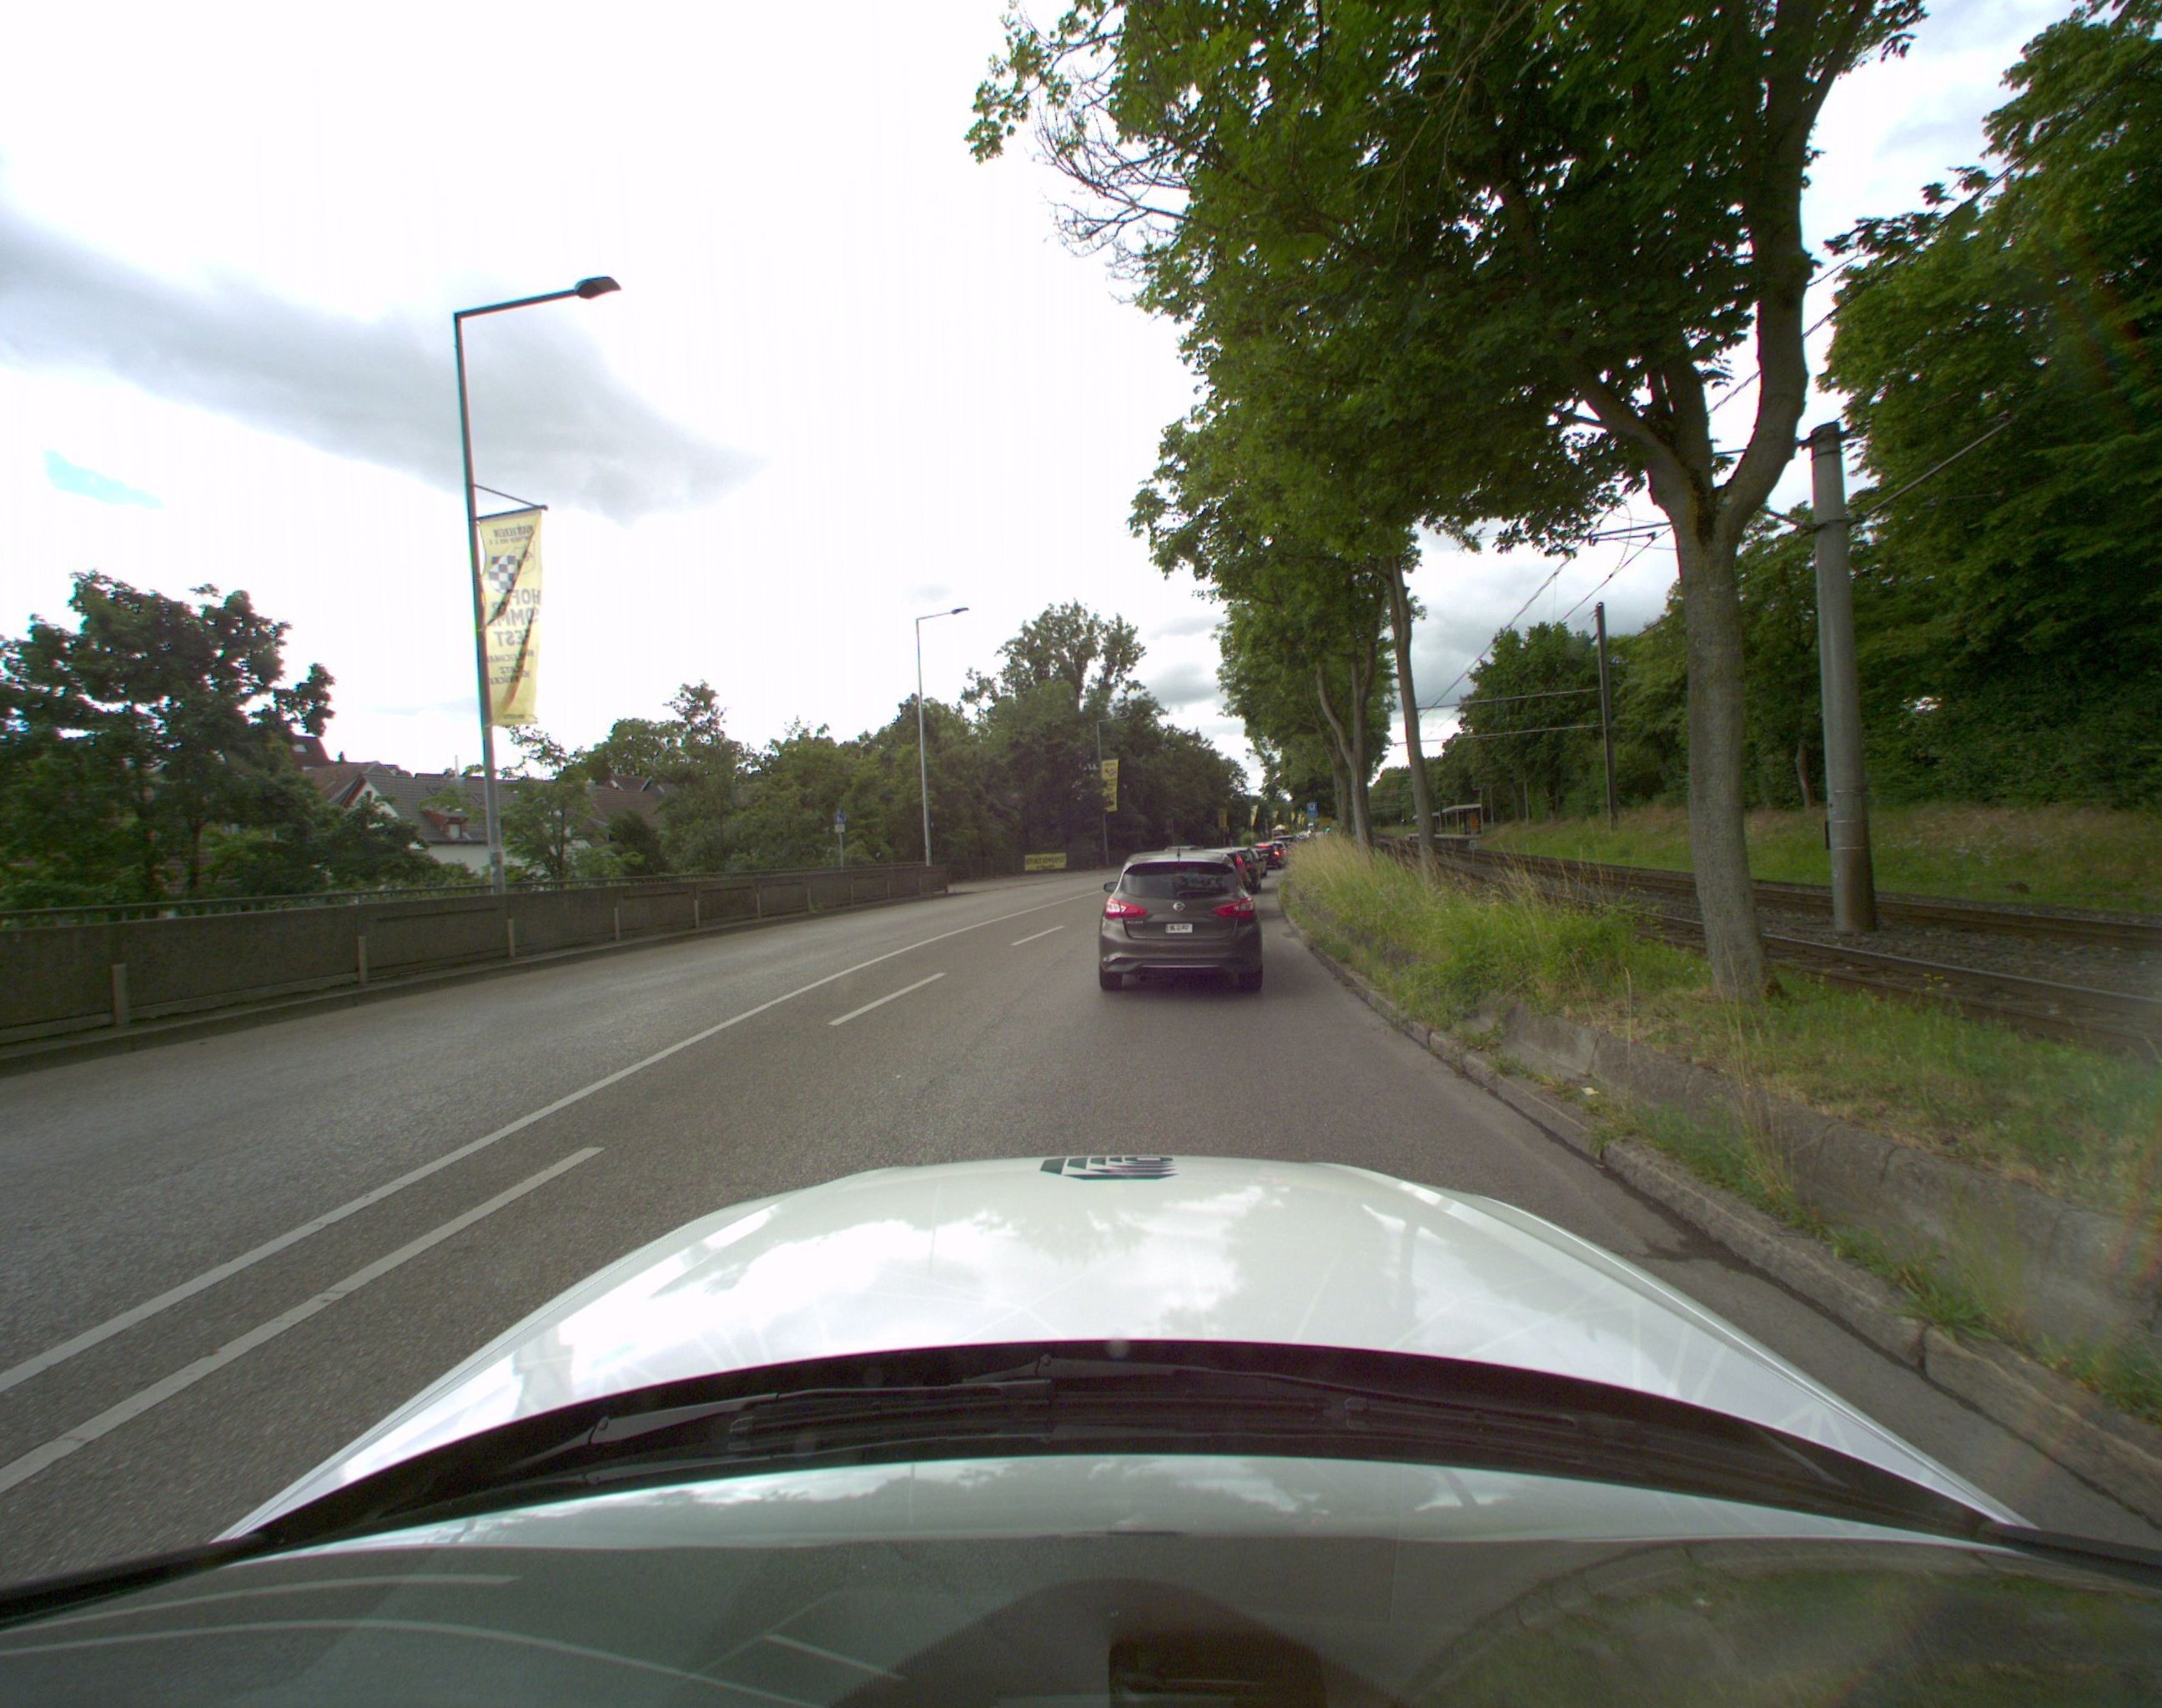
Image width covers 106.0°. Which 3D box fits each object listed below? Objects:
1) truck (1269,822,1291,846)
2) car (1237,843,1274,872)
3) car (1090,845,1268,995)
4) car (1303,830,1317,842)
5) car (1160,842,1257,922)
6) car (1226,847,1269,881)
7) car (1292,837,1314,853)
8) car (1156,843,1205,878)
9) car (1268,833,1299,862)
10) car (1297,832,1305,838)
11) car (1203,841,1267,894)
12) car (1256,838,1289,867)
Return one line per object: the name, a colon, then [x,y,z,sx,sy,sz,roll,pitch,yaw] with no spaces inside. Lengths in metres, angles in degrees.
truck: [35.190,-3.469,143.534,2.633,3.938,10.162,-2,0,20]
car: [9.632,0.187,44.768,1.792,1.540,4.015,-1,0,14]
car: [1.332,0.692,10.245,1.764,1.494,4.011,-1,-1,10]
car: [34.274,-2.671,121.901,1.876,1.653,4.019,-2,0,18]
car: [2.938,0.586,18.414,1.881,1.574,4.011,-2,-1,10]
car: [7.504,0.425,36.437,1.488,1.364,3.603,-3,-1,17]
car: [21.966,-0.870,80.575,1.876,1.445,3.825,-2,0,18]
car: [4.783,0.320,38.766,1.839,1.486,4.436,-3,-1,12]
car: [15.139,-0.498,60.646,1.876,2.013,4.019,-2,0,18]
car: [57.197,-4.996,211.823,1.803,1.462,4.019,-3,0,18]
car: [5.096,0.412,26.589,1.566,1.538,4.018,-3,-1,17]
car: [12.200,-0.042,51.737,1.705,1.693,4.017,-3,-2,16]
